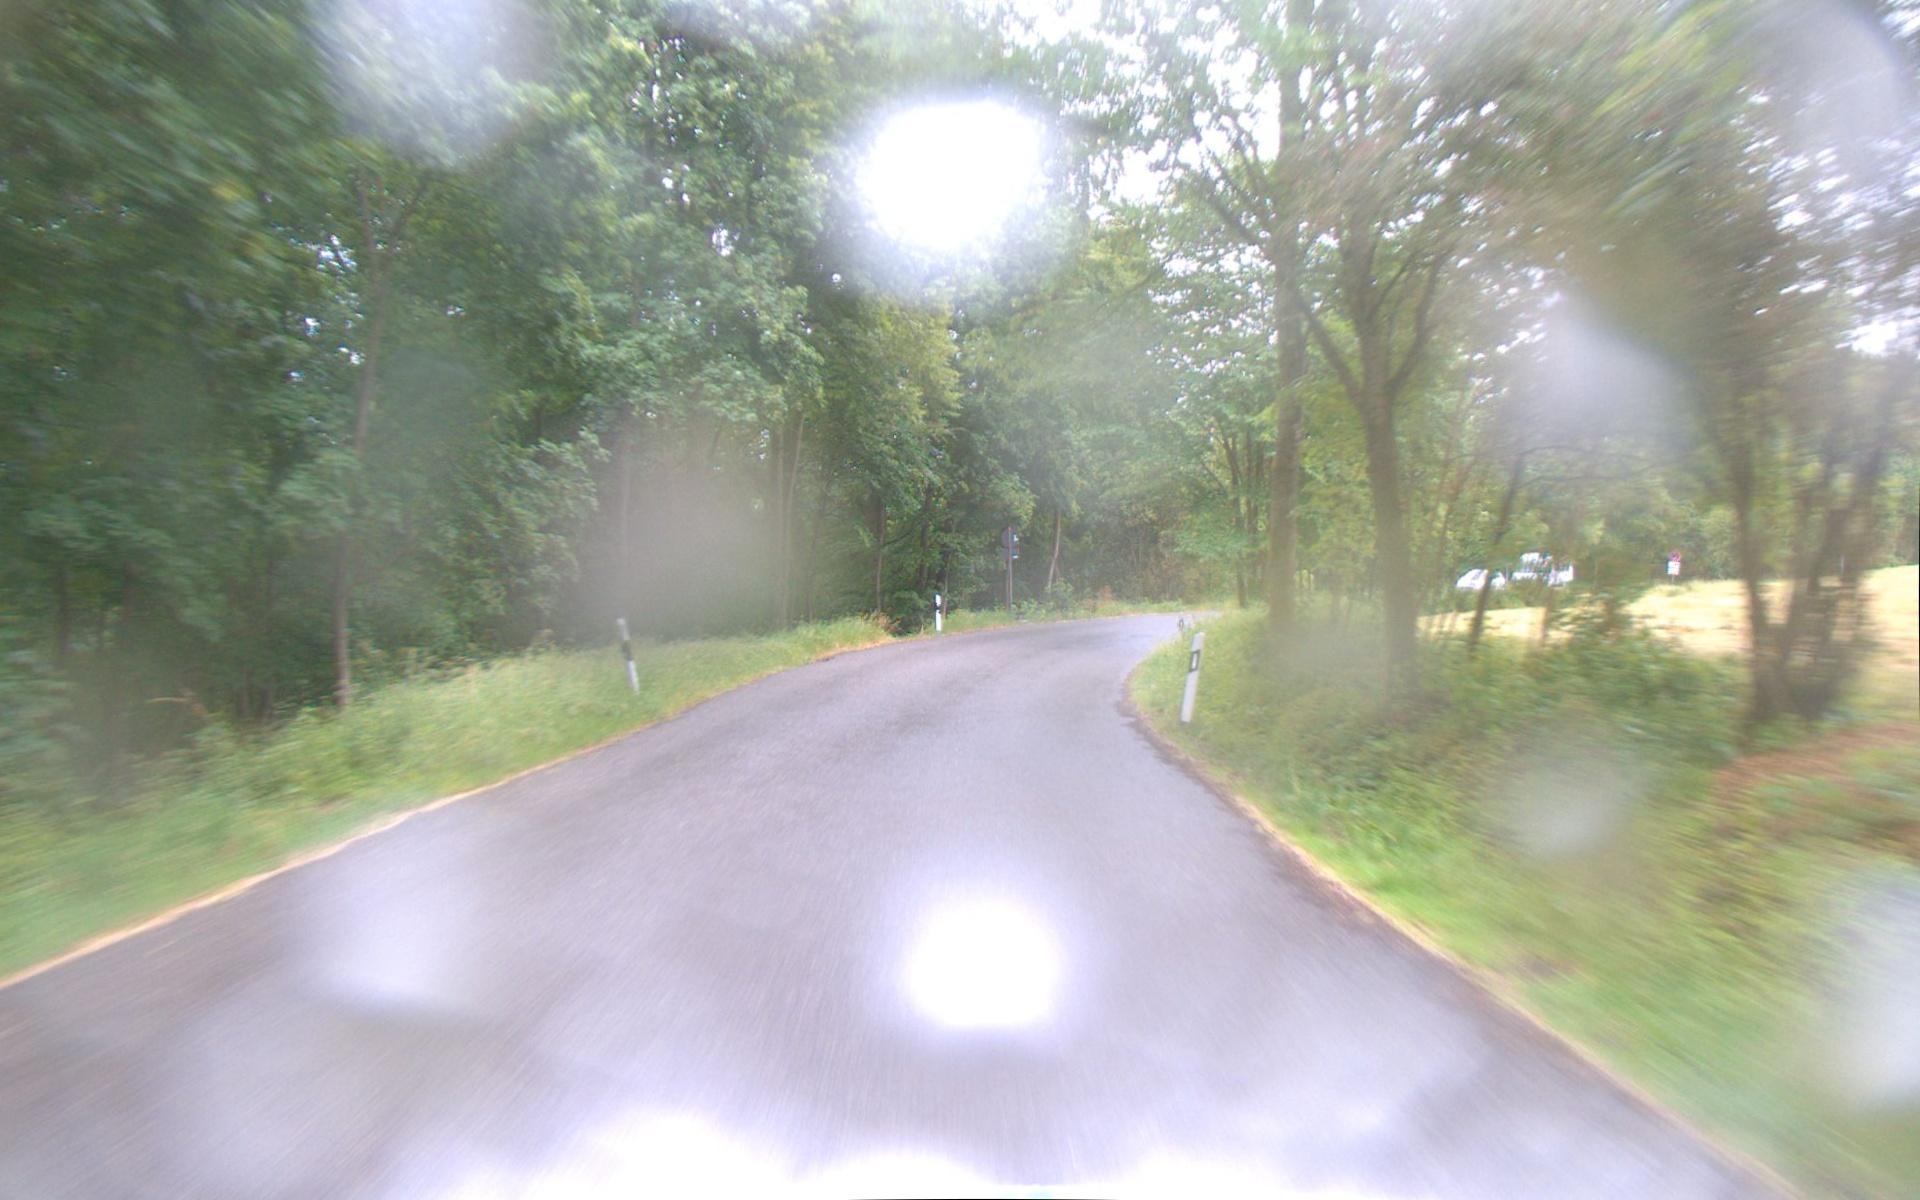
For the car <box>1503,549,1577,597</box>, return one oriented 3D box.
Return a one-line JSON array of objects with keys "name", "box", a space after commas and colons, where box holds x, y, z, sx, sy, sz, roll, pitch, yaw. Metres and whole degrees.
[{"name": "car", "box": [35.472, -1.663, 101.060, 2.238, 2.744, 6.018, -1, 1, 40]}]
